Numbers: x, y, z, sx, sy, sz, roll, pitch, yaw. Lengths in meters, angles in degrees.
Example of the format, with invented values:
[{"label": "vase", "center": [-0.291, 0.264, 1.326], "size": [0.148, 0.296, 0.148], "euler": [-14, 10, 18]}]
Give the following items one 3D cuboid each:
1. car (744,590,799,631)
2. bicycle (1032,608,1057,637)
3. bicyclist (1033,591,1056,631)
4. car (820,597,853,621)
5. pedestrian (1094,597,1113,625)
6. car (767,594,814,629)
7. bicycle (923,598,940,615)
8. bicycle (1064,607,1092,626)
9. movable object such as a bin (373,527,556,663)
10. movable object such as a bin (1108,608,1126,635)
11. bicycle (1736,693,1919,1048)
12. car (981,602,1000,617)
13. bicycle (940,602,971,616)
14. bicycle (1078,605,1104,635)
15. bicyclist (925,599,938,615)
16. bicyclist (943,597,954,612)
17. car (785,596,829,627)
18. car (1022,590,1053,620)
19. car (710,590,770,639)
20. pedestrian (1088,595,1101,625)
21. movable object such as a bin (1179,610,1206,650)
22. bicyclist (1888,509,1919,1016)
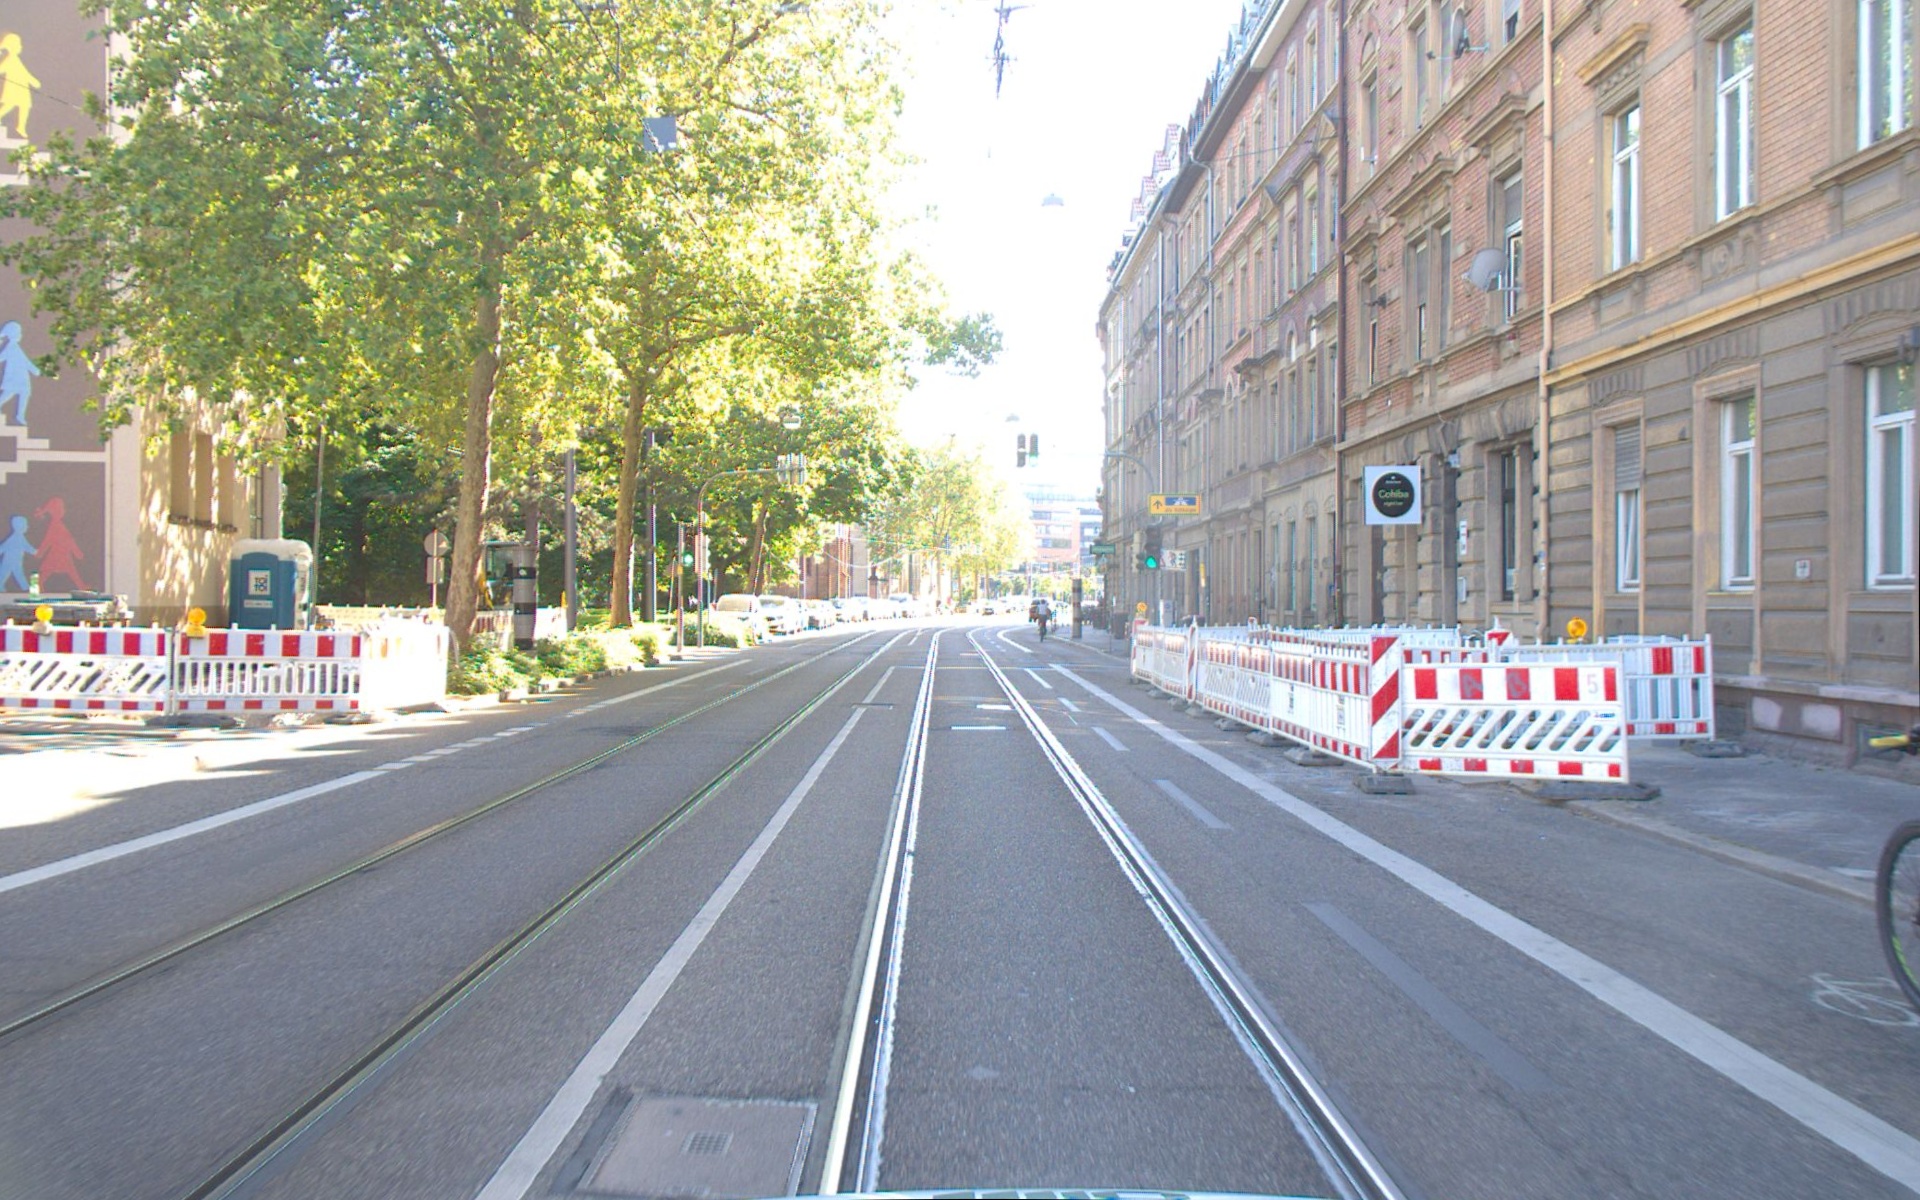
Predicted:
[{"label": "car", "center": [-8.031, 0.458, 70.829], "size": [1.712, 1.636, 4.044], "euler": [2, -1, 2]}, {"label": "bicycle", "center": [3.407, 0.907, 66.966], "size": [0.838, 1.107, 2.487], "euler": [2, -1, 0]}, {"label": "bicyclist", "center": [3.426, 0.453, 67.025], "size": [0.821, 1.585, 0.965], "euler": [2, -1, -1]}, {"label": "car", "center": [-8.147, 0.616, 109.382], "size": [1.712, 1.521, 4.044], "euler": [2, -1, 2]}, {"label": "pedestrian", "center": [9.343, 0.724, 107.805], "size": [1.033, 1.791, 1.332], "euler": [2, -1, 0]}, {"label": "car", "center": [-8.269, 0.561, 80.922], "size": [1.712, 1.614, 4.044], "euler": [2, -1, 2]}, {"label": "bicycle", "center": [-2.766, 0.645, 160.379], "size": [1.208, 1.600, 2.899], "euler": [2, -1, 7]}, {"label": "bicycle", "center": [7.312, 1.049, 102.497], "size": [0.629, 1.137, 2.288], "euler": [1, -1, 36]}, {"label": "movable object such as a bin", "center": [-10.791, -0.101, 36.578], "size": [2.445, 2.691, 5.985], "euler": [2, 0, -3]}, {"label": "movable object such as a bin", "center": [6.252, 0.845, 65.814], "size": [0.659, 1.054, 0.813], "euler": [0, 1, 0]}, {"label": "bicycle", "center": [3.597, 0.958, 5.542], "size": [0.667, 1.134, 2.706], "euler": [2, 0, -1]}, {"label": "car", "center": [3.090, 0.980, 168.257], "size": [1.712, 1.447, 4.045], "euler": [2, -1, 4]}, {"label": "bicycle", "center": [-0.446, 0.912, 163.354], "size": [2.826, 1.253, 0.885], "euler": [2, -1, 10]}, {"label": "bicycle", "center": [6.906, 1.059, 86.872], "size": [0.950, 1.541, 3.248], "euler": [1, -1, 11]}, {"label": "bicyclist", "center": [-2.737, 0.670, 160.339], "size": [1.054, 1.452, 1.147], "euler": [2, -1, 8]}, {"label": "bicyclist", "center": [-1.151, 0.426, 163.549], "size": [0.880, 1.452, 1.054], "euler": [1, -1, 8]}, {"label": "car", "center": [-7.959, 0.617, 86.438], "size": [1.712, 1.536, 4.044], "euler": [2, -1, 2]}, {"label": "car", "center": [5.471, 0.381, 117.525], "size": [1.953, 2.049, 4.000], "euler": [2, -1, 0]}, {"label": "car", "center": [-7.992, 0.528, 60.388], "size": [1.513, 1.687, 3.763], "euler": [2, -1, 2]}, {"label": "pedestrian", "center": [8.965, 0.669, 110.402], "size": [0.767, 1.922, 0.971], "euler": [1, -1, 7]}, {"label": "movable object such as a bin", "center": [6.693, 0.860, 47.637], "size": [0.607, 1.129, 0.780], "euler": [2, -1, -3]}, {"label": "bicyclist", "center": [3.610, 0.555, 5.293], "size": [0.653, 1.726, 1.043], "euler": [2, -1, -1]}]
